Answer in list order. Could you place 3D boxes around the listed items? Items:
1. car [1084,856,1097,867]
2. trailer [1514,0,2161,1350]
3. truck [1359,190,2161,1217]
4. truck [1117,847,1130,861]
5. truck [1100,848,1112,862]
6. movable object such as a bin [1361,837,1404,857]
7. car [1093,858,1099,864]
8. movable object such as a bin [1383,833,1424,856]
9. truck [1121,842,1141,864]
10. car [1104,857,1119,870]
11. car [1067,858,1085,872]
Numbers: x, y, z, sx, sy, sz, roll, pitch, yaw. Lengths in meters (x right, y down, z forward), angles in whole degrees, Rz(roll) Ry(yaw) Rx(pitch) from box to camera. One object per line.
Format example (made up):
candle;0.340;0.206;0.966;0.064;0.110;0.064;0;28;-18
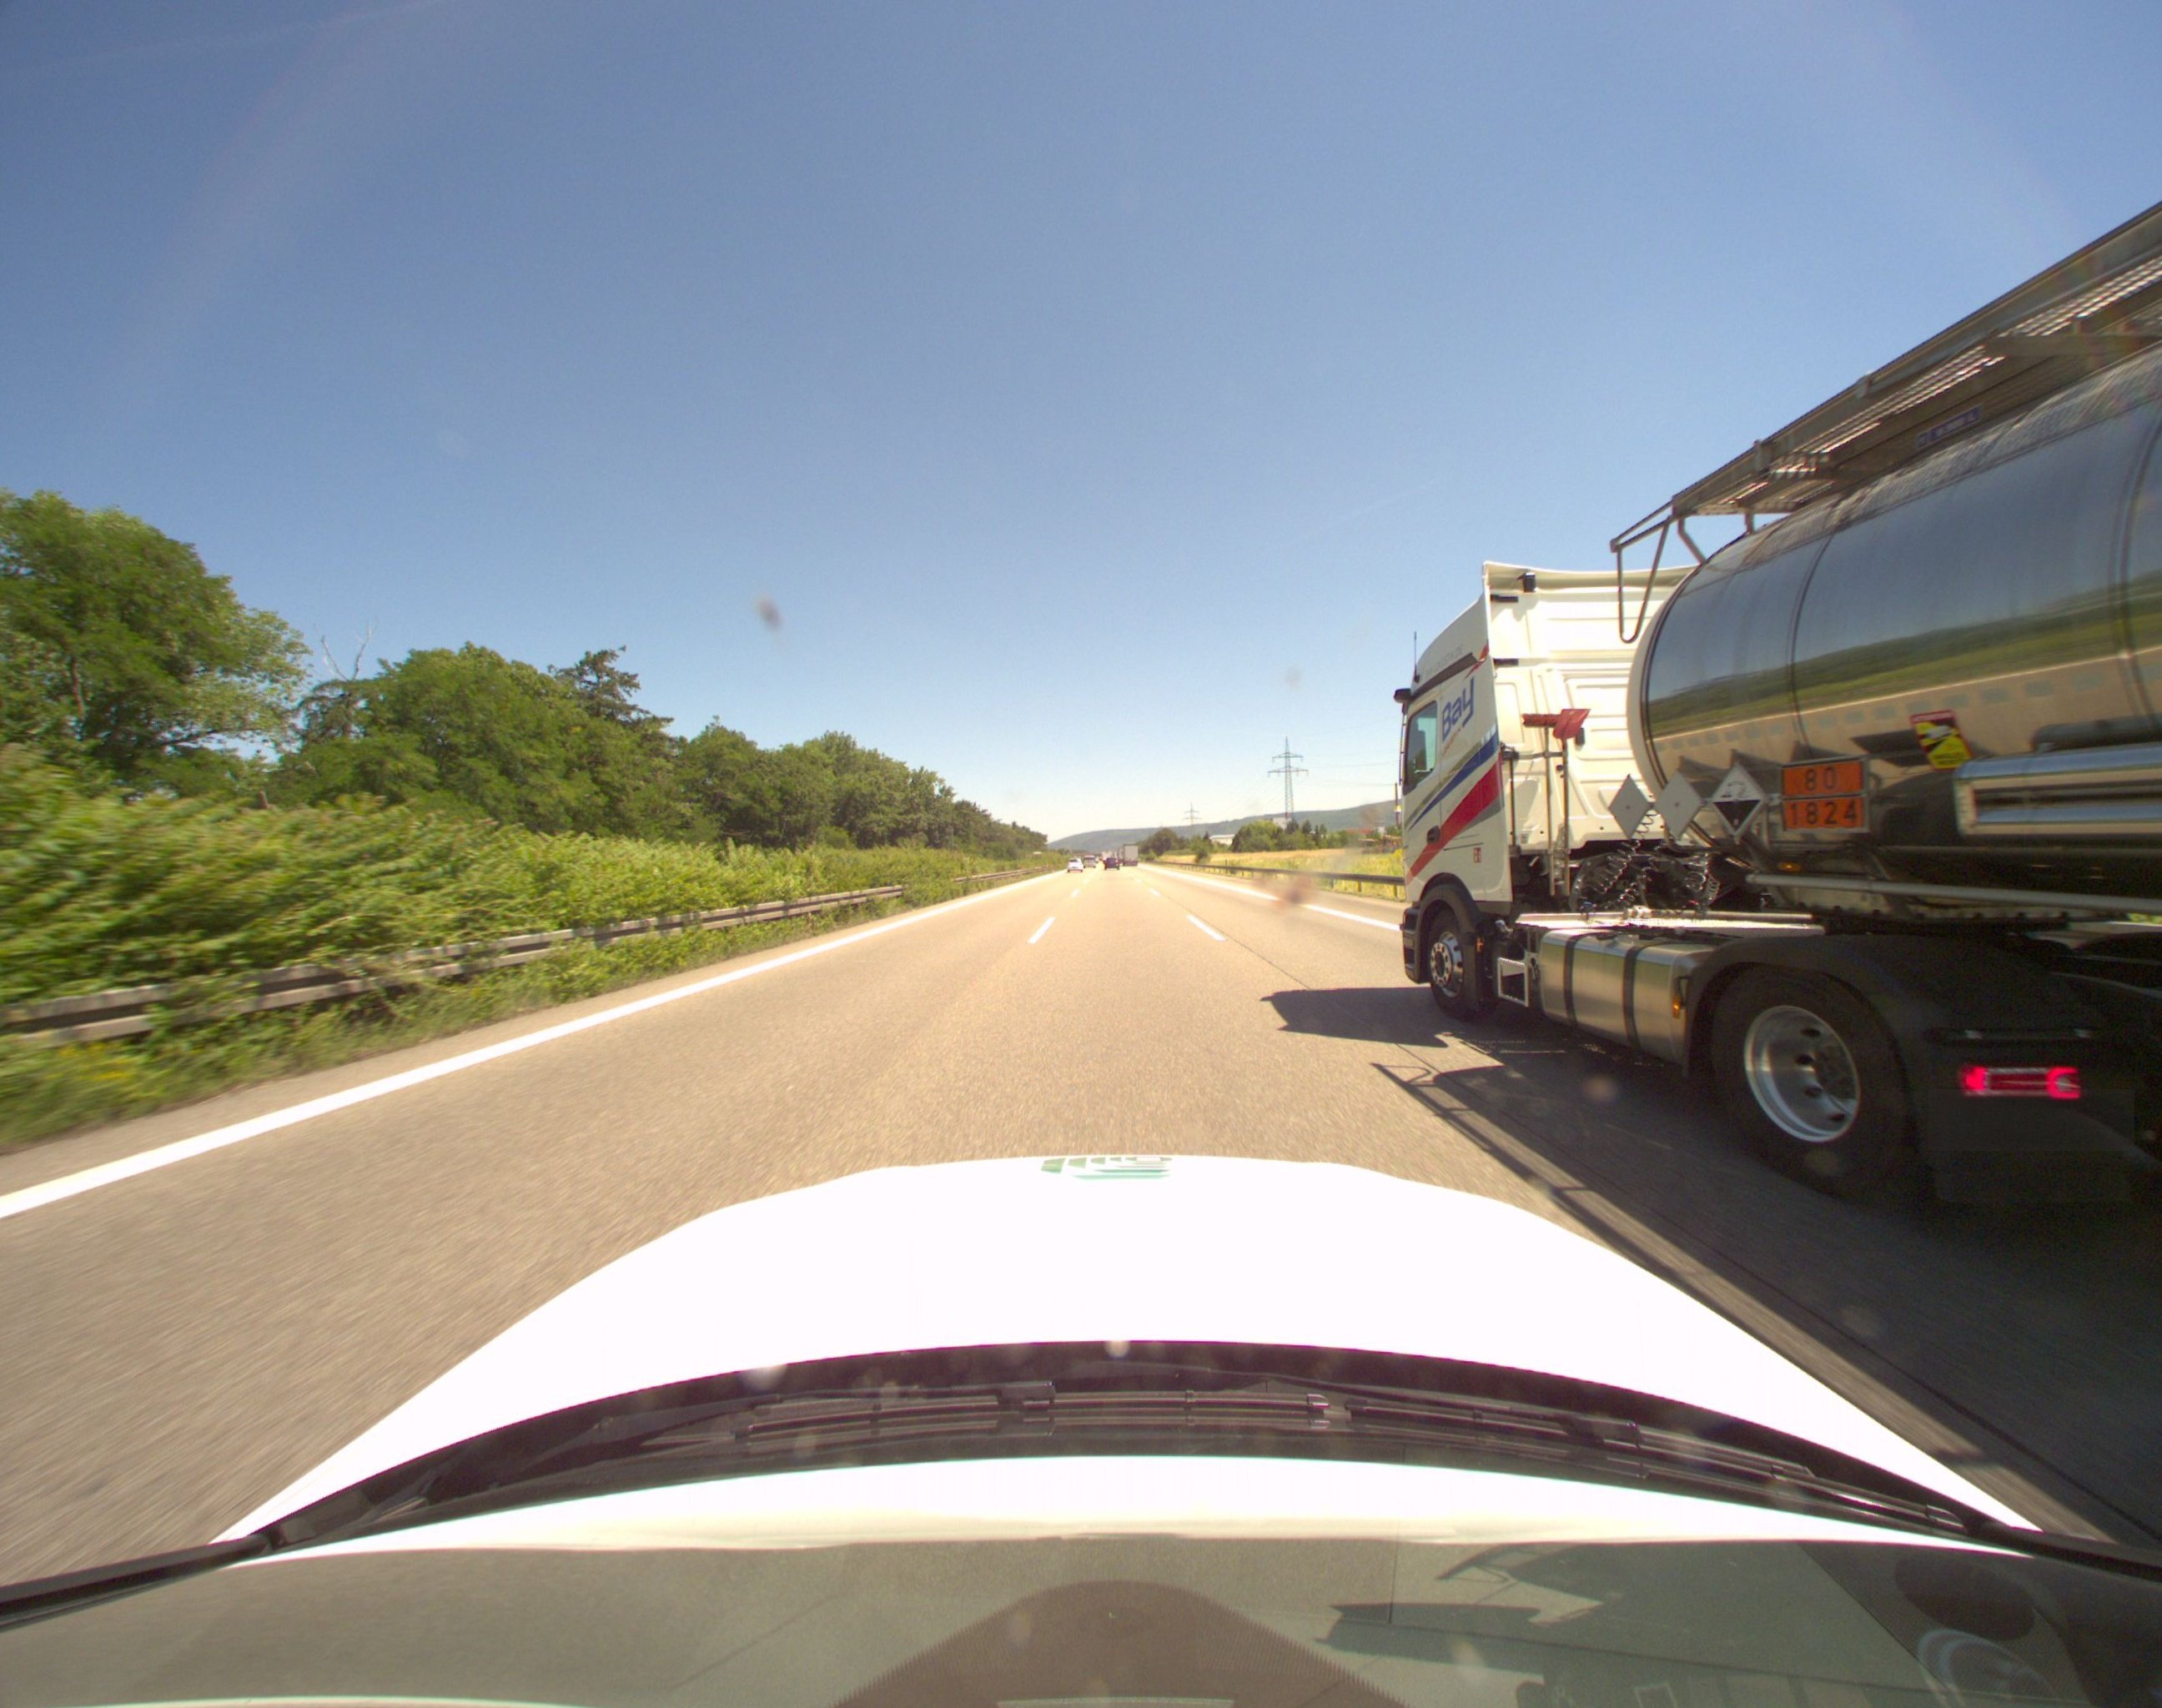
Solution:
car;1.513;1.152;126.816;1.845;1.633;4.002;0;0;2
trailer;4.361;-0.605;0.450;2.570;4.074;11.106;0;0;1
truck;4.503;-0.604;6.421;2.564;4.072;6.394;0;0;1
truck;10.949;-0.046;211.112;3.086;3.474;11.545;0;0;1
truck;6.627;0.290;216.981;3.086;3.474;11.545;0;0;1
movable object such as a bin;58.908;-1.440;159.329;7.505;3.402;2.278;-4;-1;7
car;4.316;1.892;231.853;1.845;1.633;4.002;0;0;2
movable object such as a bin;58.757;-1.780;148.605;6.312;3.732;2.500;-4;-1;7
truck;9.215;-0.195;151.424;3.253;3.857;11.634;0;0;1
car;3.917;1.186;103.322;1.878;1.515;4.002;0;0;2
car;-0.511;1.171;89.893;1.800;1.468;4.002;0;0;2
